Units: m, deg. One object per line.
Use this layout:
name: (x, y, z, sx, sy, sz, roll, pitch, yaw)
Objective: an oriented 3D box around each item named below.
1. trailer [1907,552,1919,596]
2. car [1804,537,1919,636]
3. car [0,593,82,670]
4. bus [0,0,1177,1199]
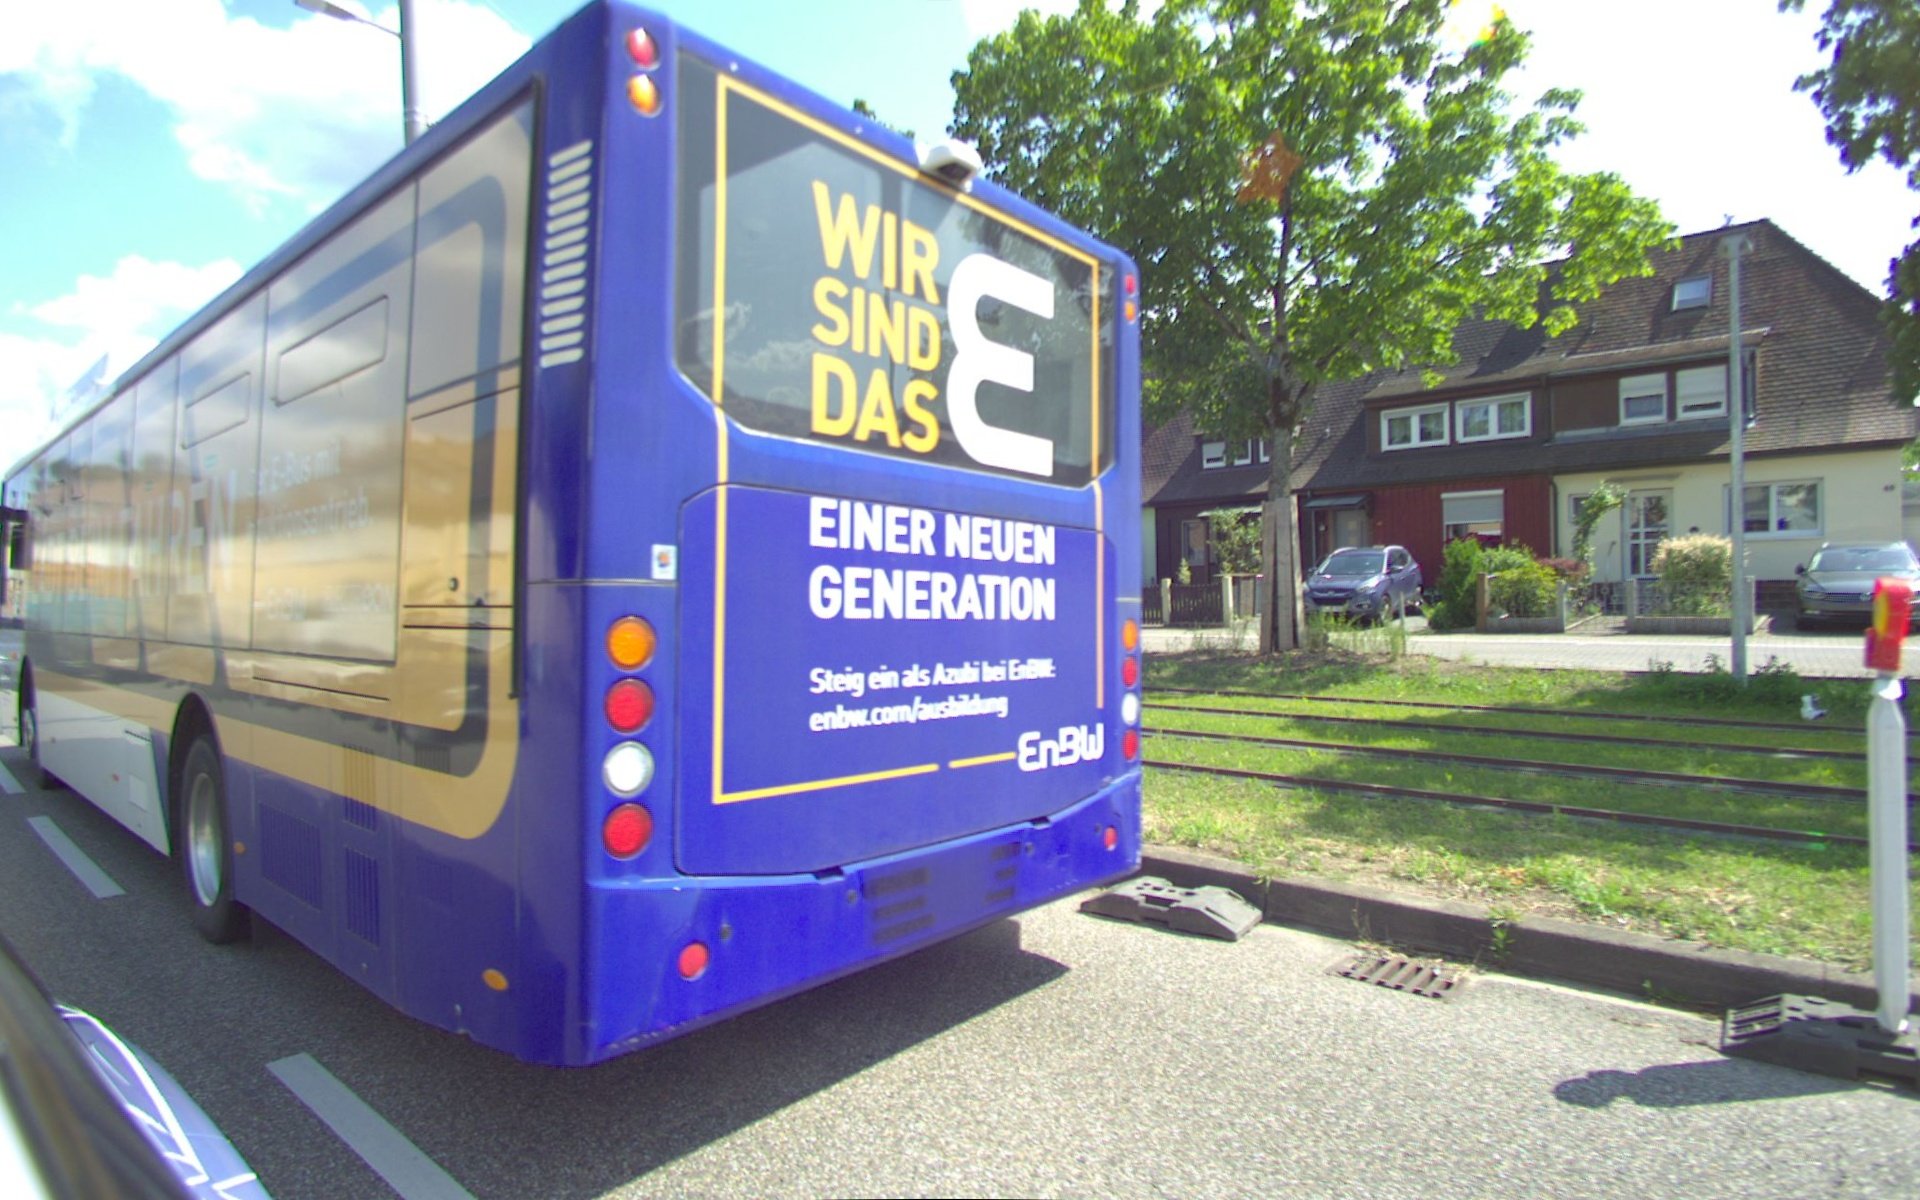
trailer: (24.038, -0.654, 24.079, 1.868, 1.033, 3.949, -1, 1, 38)
car: (16.054, -0.291, 17.665, 1.924, 1.535, 4.427, -1, 1, 39)
car: (-26.555, 0.856, 28.777, 5.294, 1.981, 1.933, -1, 0, 44)
bus: (-4.645, -0.216, 7.022, 12.239, 3.438, 2.609, -1, 0, 40)
